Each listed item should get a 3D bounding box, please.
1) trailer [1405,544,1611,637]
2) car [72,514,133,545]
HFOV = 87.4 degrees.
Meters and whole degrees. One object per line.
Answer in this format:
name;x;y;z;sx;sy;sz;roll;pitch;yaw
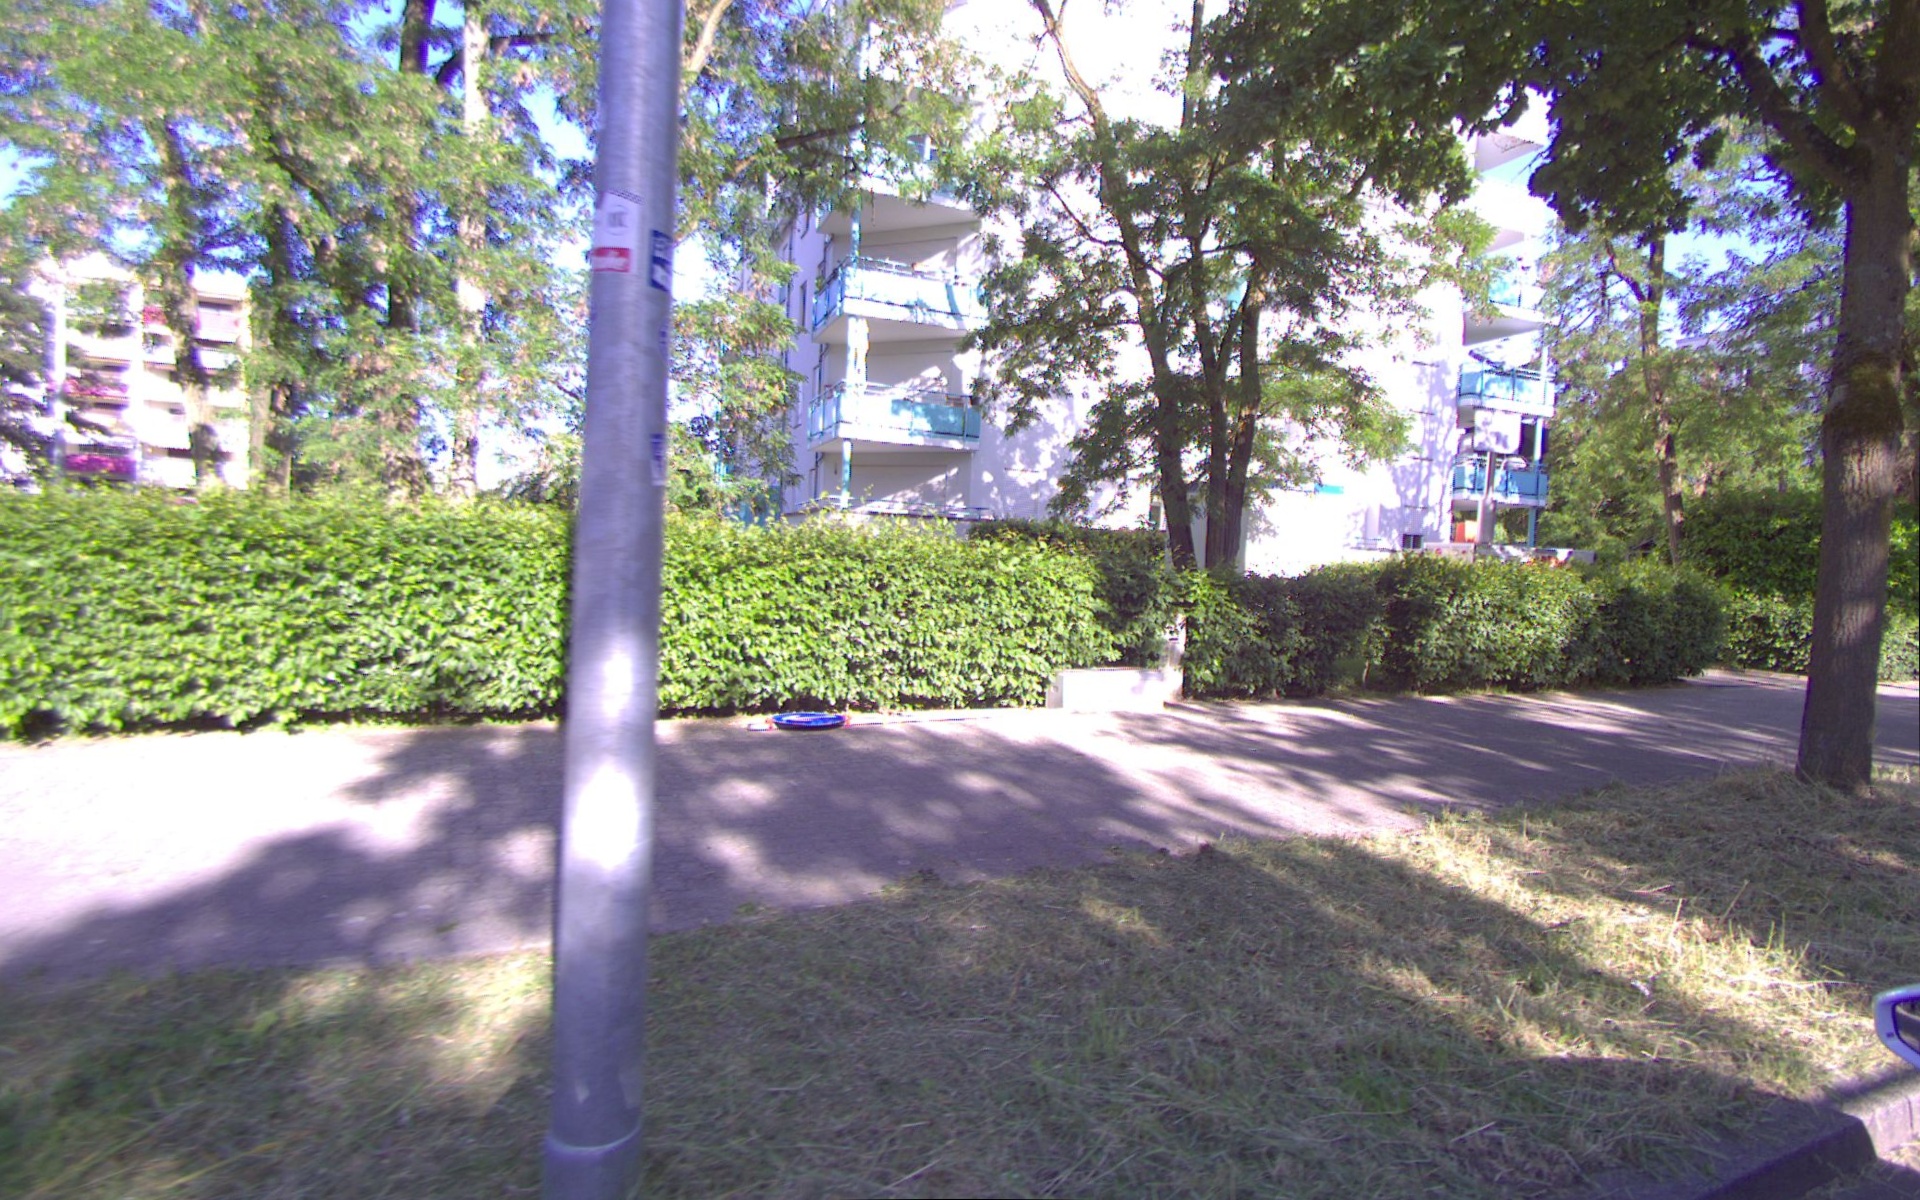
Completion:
trailer;13.401;-0.232;24.609;4.363;2.070;1.973;2;2;-20
car;-53.566;-4.375;62.824;1.738;1.767;3.815;2;2;-22
